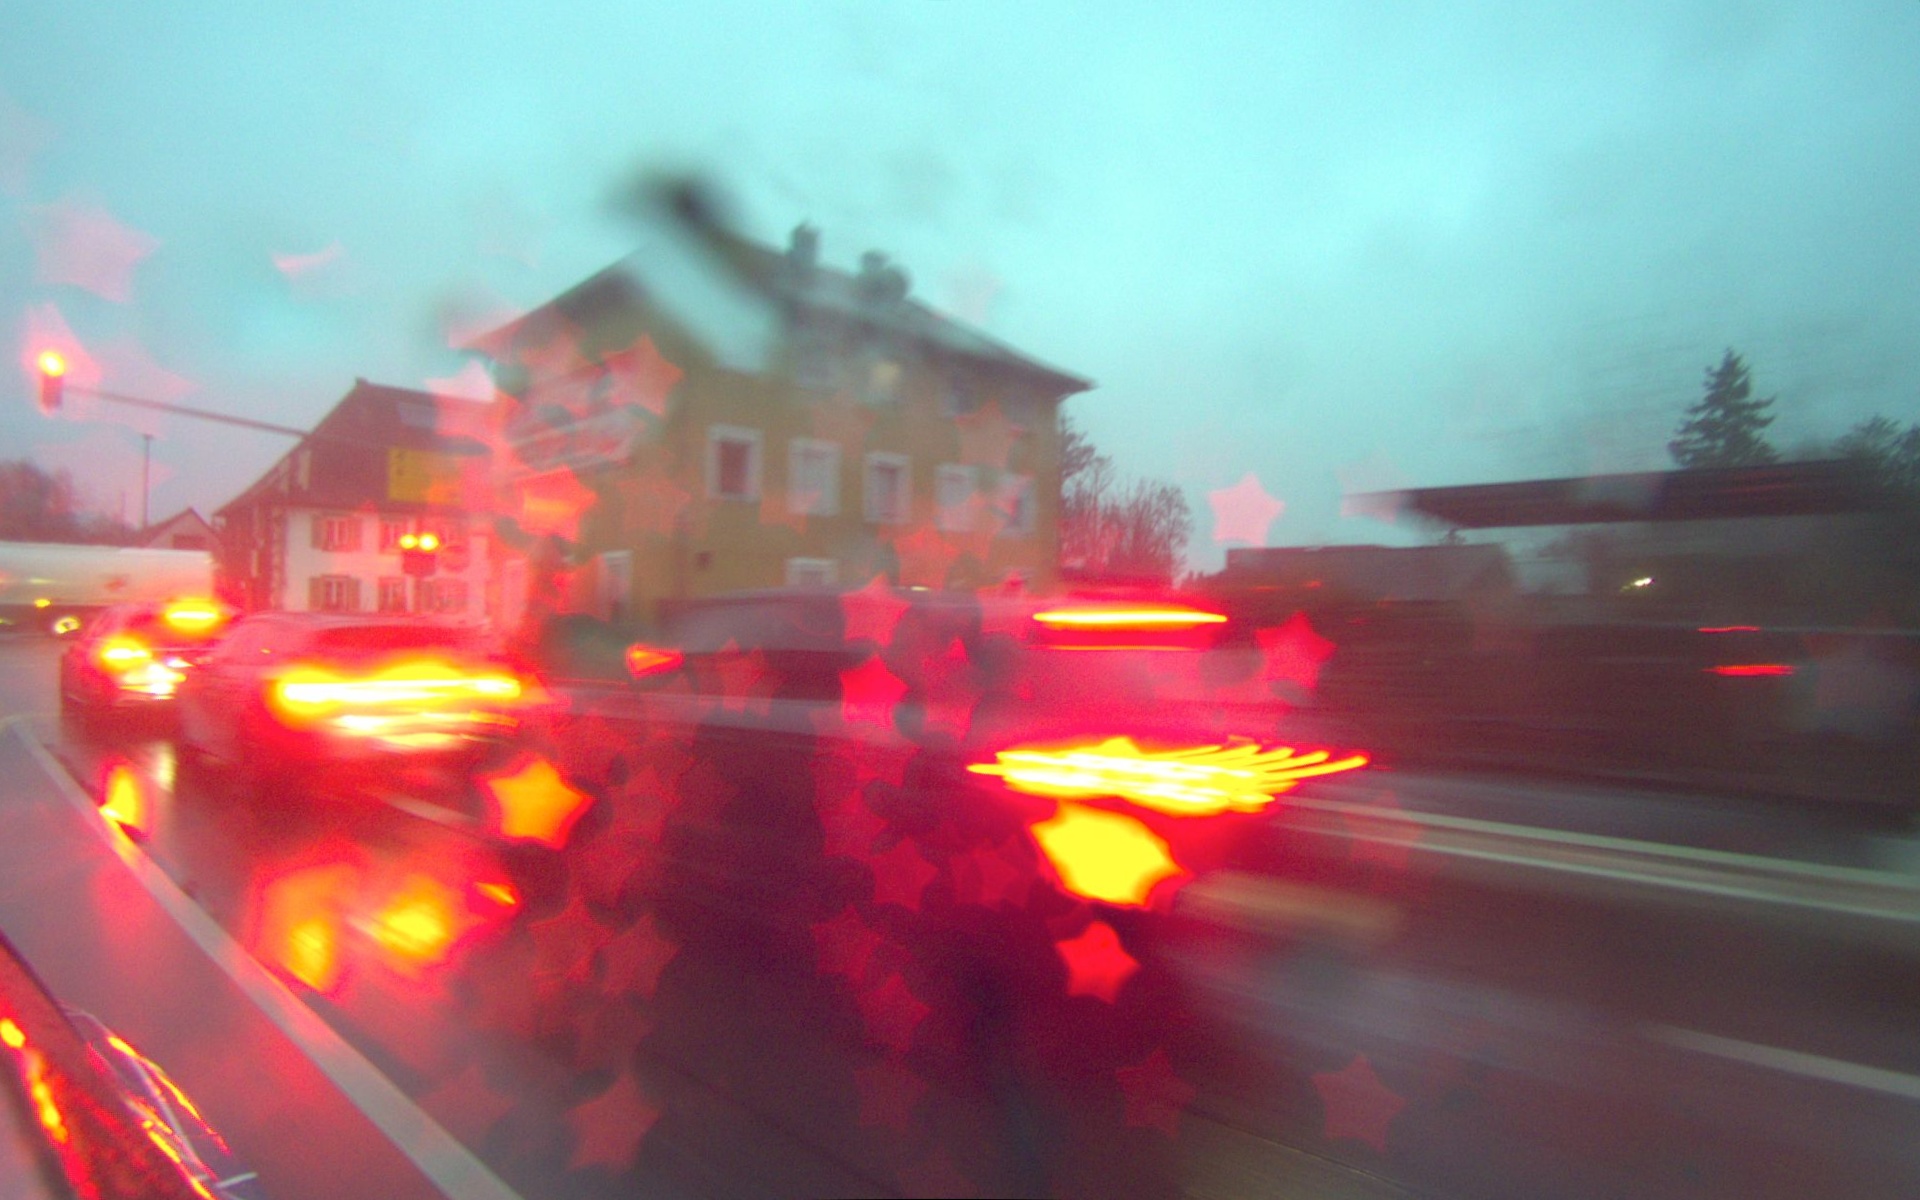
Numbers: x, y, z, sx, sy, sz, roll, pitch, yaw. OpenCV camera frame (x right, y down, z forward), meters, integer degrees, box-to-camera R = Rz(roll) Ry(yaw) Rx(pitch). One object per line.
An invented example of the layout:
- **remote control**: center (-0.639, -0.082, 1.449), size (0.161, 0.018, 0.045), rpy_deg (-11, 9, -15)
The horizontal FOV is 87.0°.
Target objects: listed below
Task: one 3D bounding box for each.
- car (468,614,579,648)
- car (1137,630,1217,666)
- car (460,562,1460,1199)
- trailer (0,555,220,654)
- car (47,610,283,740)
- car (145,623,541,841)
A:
- **car**: center (-19.846, 1.438, 46.162), size (1.668, 1.450, 4.318), rpy_deg (-2, -3, 44)
- **car**: center (10.420, 2.278, 48.462), size (2.001, 1.637, 3.942), rpy_deg (0, -2, 44)
- **car**: center (-0.343, 0.777, 4.500), size (4.289, 1.597, 1.856), rpy_deg (-1, -3, 42)
- **trailer**: center (-32.066, 0.194, 34.476), size (2.497, 3.265, 10.711), rpy_deg (-2, -3, 44)
- **car**: center (-10.504, 0.874, 13.241), size (1.858, 1.404, 4.526), rpy_deg (3, -3, -45)
- **car**: center (-5.480, 0.929, 8.739), size (4.286, 1.383, 1.805), rpy_deg (0, -3, 43)
